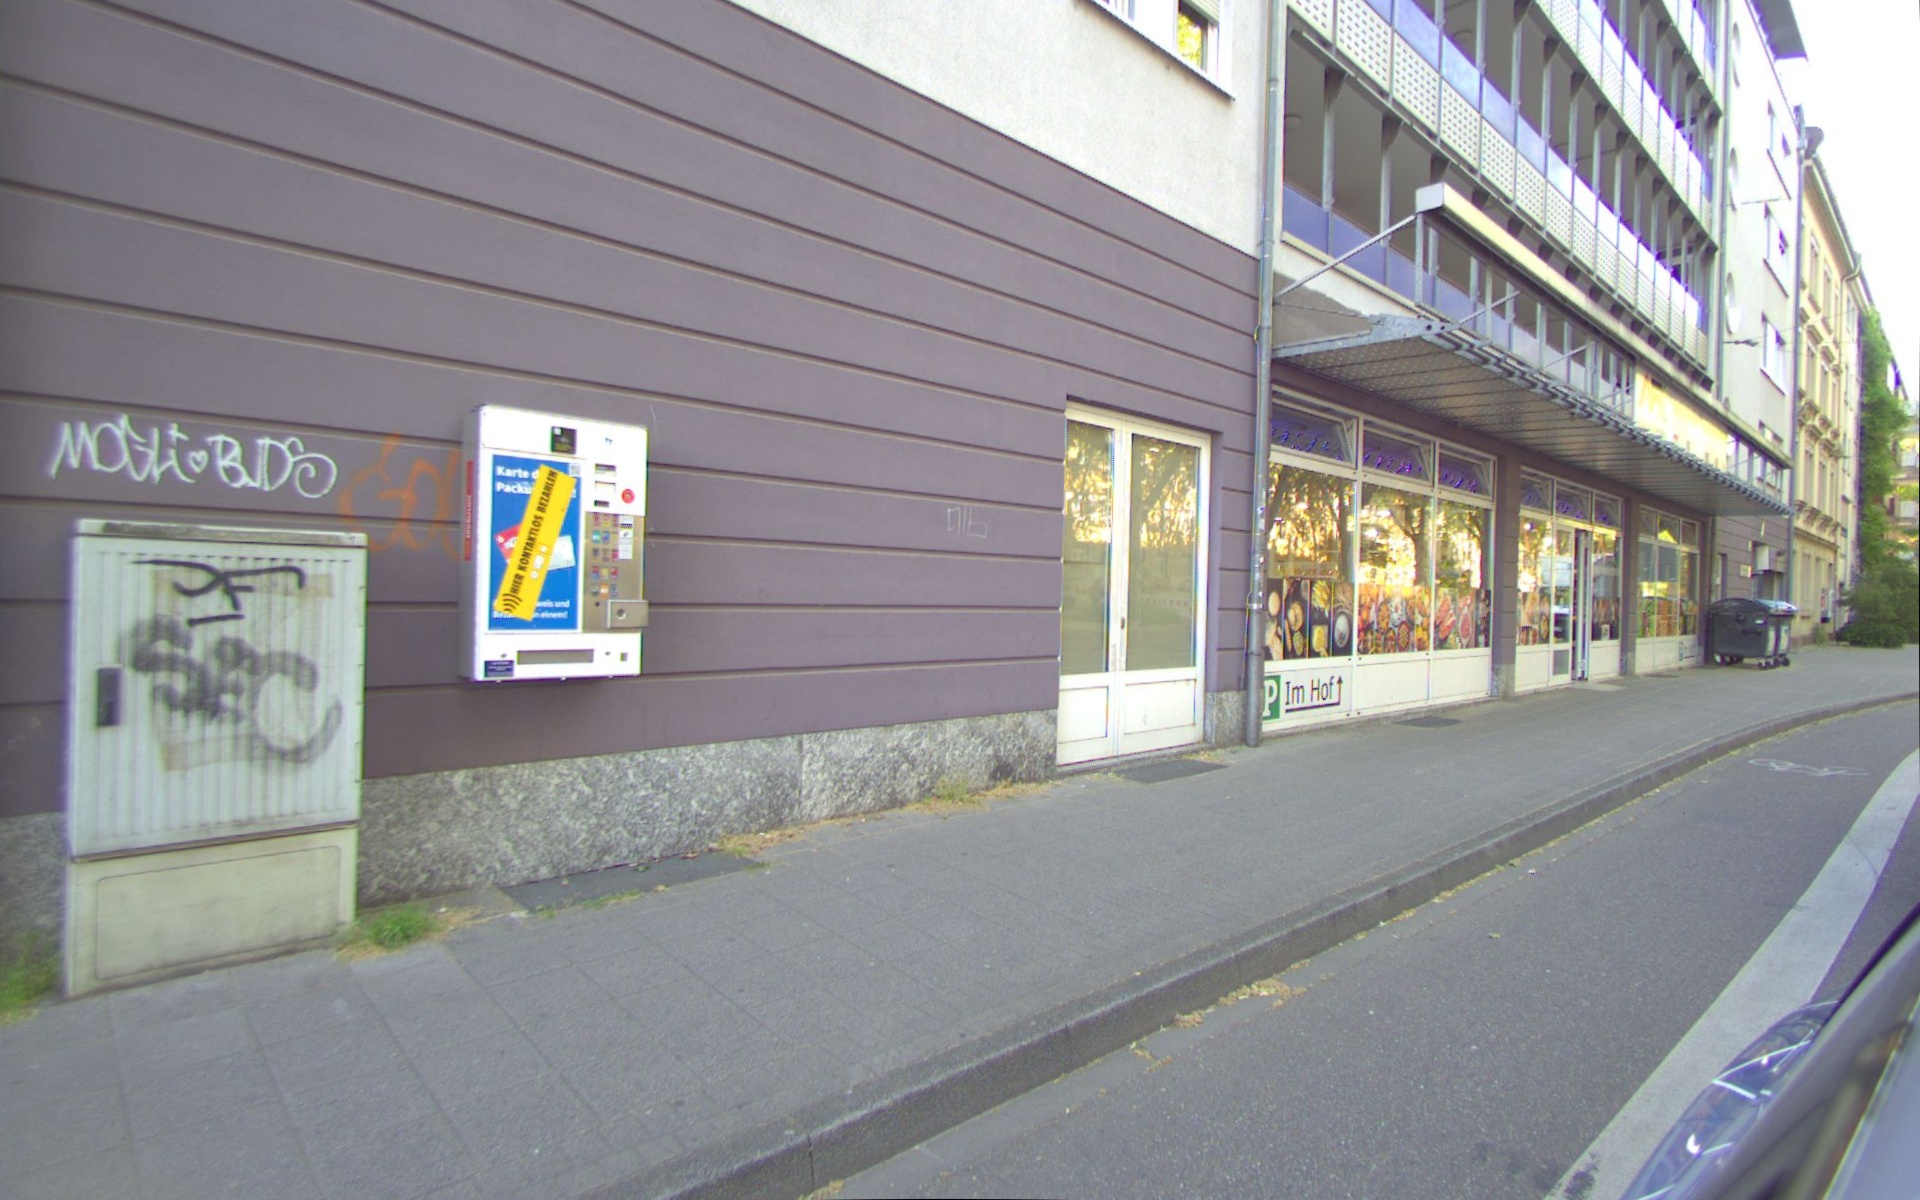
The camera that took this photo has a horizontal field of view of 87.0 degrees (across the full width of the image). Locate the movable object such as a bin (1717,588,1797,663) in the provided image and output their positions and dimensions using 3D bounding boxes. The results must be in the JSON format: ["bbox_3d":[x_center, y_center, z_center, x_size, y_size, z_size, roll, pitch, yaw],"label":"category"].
[{"bbox_3d":[16.438,0.499,20.872,1.274,1.465,1.068,1,1,-42],"label":"movable object such as a bin"}]

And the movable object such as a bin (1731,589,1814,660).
[{"bbox_3d":[17.787,0.519,22.160,1.282,1.464,1.123,1,1,-38],"label":"movable object such as a bin"}]
